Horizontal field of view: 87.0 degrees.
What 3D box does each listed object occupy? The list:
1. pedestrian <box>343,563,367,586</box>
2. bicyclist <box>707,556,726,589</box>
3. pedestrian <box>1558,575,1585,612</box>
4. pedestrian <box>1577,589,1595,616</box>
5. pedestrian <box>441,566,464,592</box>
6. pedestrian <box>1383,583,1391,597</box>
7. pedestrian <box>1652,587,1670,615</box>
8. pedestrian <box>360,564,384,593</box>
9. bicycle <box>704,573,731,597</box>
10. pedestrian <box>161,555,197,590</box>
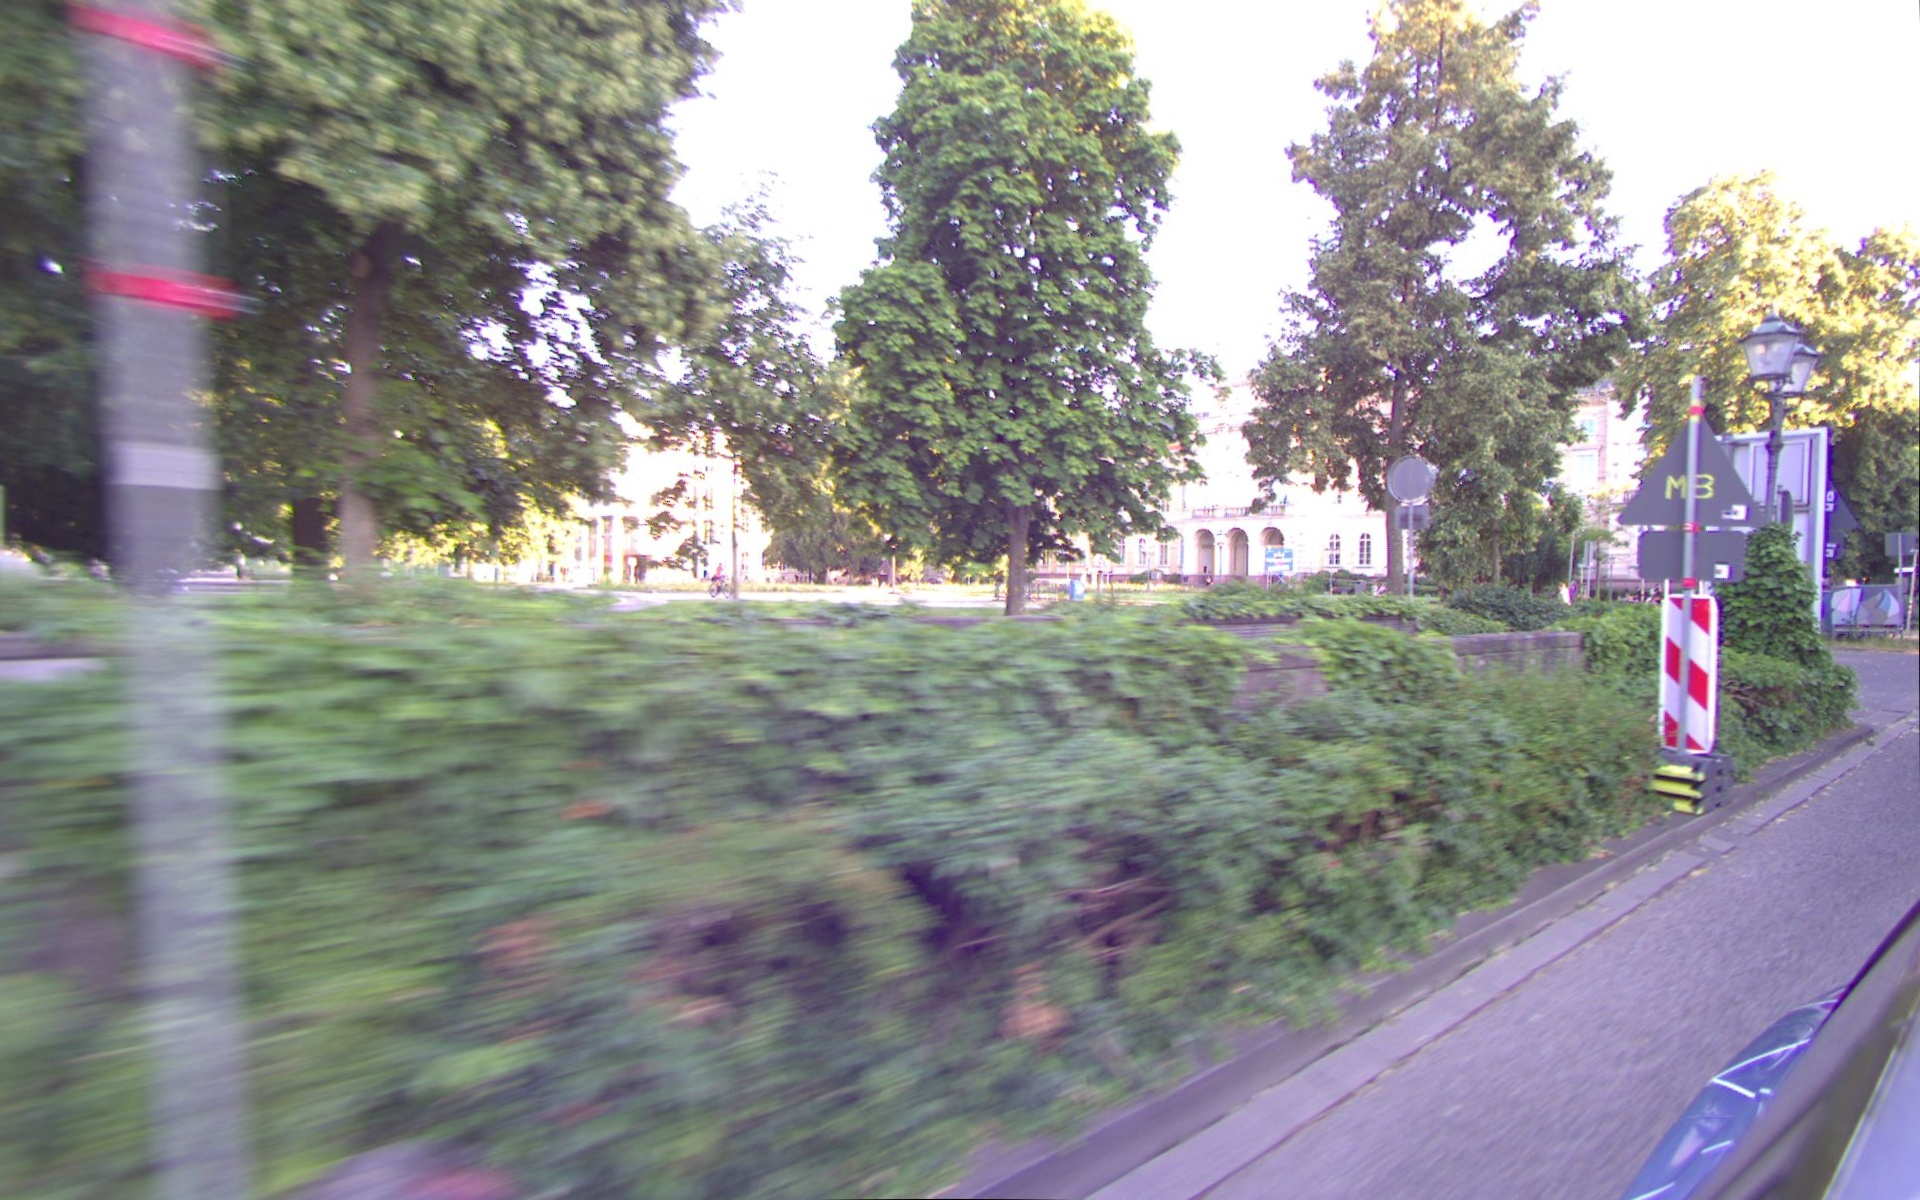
[{"bbox_3d":[-37.025,-1.569,61.964,0.819,1.387,1.150,2,0,-4],"label":"pedestrian"},{"bbox_3d":[-12.317,-1.373,51.198,0.648,1.652,0.676,0,1,-43],"label":"bicyclist"},{"bbox_3d":[27.733,-0.310,45.879,0.857,1.646,0.745,2,1,44],"label":"pedestrian"},{"bbox_3d":[29.149,0.120,47.123,0.606,1.229,0.656,2,1,43],"label":"pedestrian"},{"bbox_3d":[-23.840,-0.976,47.530,0.724,1.215,1.103,0,2,-42],"label":"pedestrian"},{"bbox_3d":[39.525,-0.928,93.632,0.499,1.304,0.583,1,1,43],"label":"pedestrian"},{"bbox_3d":[31.075,0.047,44.869,0.526,1.219,0.955,2,1,43],"label":"pedestrian"},{"bbox_3d":[-25.355,-0.932,43.640,0.653,1.215,1.103,0,2,-42],"label":"pedestrian"},{"bbox_3d":[-12.269,-0.777,51.173,0.556,1.191,1.771,0,2,-42],"label":"bicycle"},{"bbox_3d":[-30.272,-1.054,39.247,0.826,1.309,1.070,2,0,-22],"label":"pedestrian"}]
